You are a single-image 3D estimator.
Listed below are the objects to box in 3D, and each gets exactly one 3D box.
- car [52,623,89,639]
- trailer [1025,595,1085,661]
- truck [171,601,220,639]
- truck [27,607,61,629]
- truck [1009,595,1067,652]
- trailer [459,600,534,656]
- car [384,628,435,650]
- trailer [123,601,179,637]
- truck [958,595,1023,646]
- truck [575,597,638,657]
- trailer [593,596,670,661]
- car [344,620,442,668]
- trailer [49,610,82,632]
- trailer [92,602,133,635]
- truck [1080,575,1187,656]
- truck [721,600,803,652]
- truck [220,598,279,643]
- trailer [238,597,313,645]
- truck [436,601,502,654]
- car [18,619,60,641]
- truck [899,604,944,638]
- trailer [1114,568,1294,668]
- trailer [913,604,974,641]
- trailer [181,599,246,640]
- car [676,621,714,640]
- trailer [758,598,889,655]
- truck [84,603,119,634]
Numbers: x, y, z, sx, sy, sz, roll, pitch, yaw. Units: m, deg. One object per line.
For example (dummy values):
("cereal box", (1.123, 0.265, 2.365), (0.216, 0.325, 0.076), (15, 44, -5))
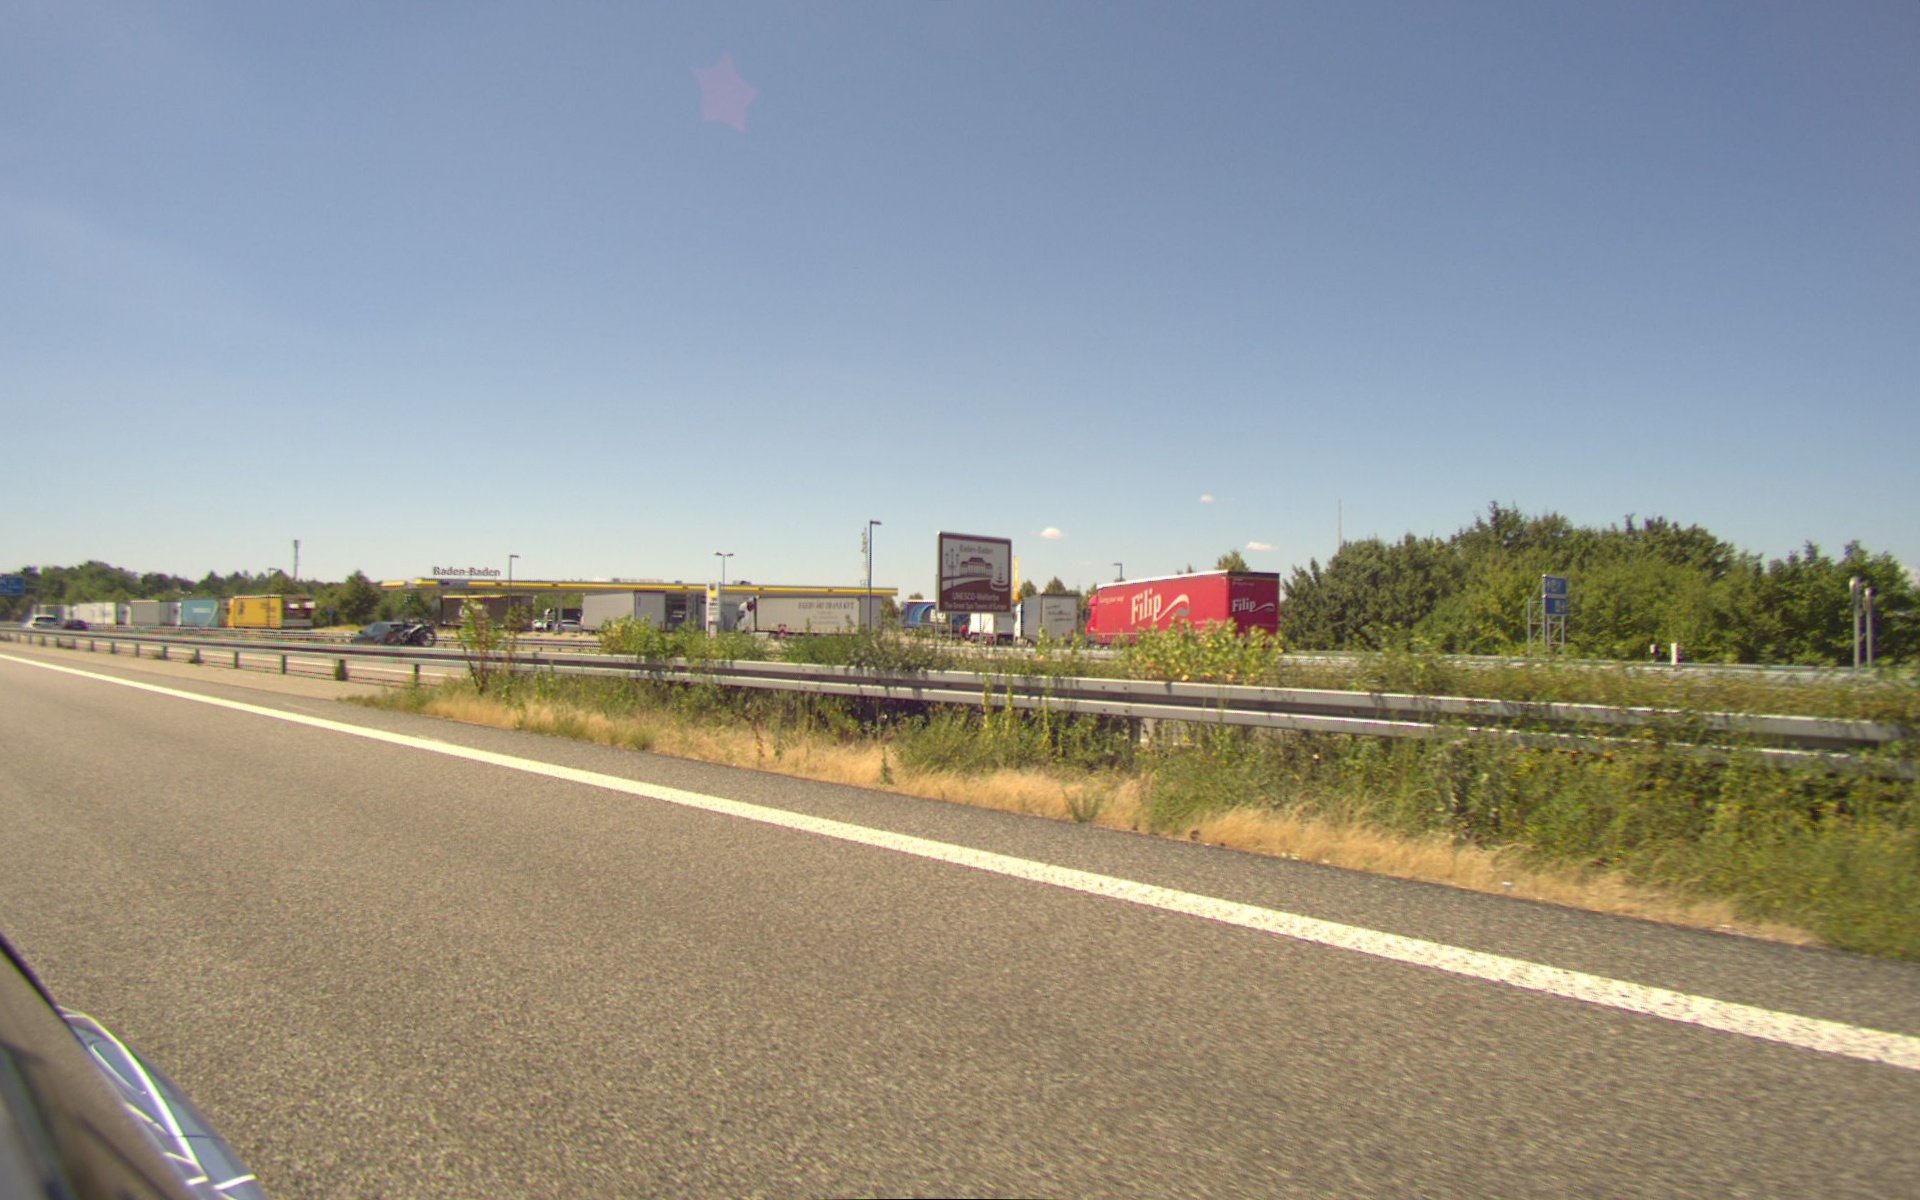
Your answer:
("car", (-79.726, 2.757, 90.728), (4.543, 1.409, 1.849), (-1, -4, 41))
("trailer", (6.644, 1.831, 72.418), (3.122, 4.298, 11.064), (-1, 0, 0))
("truck", (-85.341, 2.229, 112.960), (7.083, 4.104, 2.821), (-1, 0, 40))
("truck", (-166.588, 3.284, 183.953), (13.597, 3.670, 2.771), (-1, 0, 41))
("truck", (6.130, 1.821, 80.717), (3.124, 4.283, 6.658), (-1, 0, -9))
("trailer", (-43.080, 2.527, 93.931), (9.132, 4.886, 3.000), (-1, 0, 43))
("car", (-40.937, 2.888, 75.216), (4.505, 1.500, 1.794), (-1, 0, 40))
("trailer", (-99.540, 2.375, 124.440), (11.004, 4.189, 3.082), (-1, 0, 39))
("truck", (2.636, 1.797, 93.121), (3.008, 4.390, 10.746), (-1, 0, -15))
("truck", (-30.813, 2.290, 87.963), (3.257, 4.886, 7.645), (-1, 0, -34))
("trailer", (-26.703, 2.215, 81.936), (3.257, 4.911, 9.708), (-1, 0, -34))
("car", (-23.945, 1.805, 42.679), (5.043, 1.824, 1.934), (-1, 0, 40))
("trailer", (-171.883, 4.006, 194.471), (12.002, 4.187, 3.062), (-1, 0, 40))
("trailer", (-116.411, 2.516, 138.976), (10.507, 4.250, 2.572), (-1, 0, 40))
("truck", (9.196, 0.778, 54.610), (3.075, 4.080, 6.664), (-1, 0, -15))
("truck", (-17.668, 2.247, 89.977), (7.624, 4.390, 3.266), (-1, 0, 43))
("truck", (-70.186, 2.031, 99.861), (7.912, 4.232, 2.805), (-1, 0, 40))
("trailer", (-64.266, 1.912, 94.852), (11.073, 4.251, 2.805), (-1, 0, 40))
("truck", (-47.693, 2.608, 98.150), (7.877, 4.886, 2.993), (-1, 0, 42))
("car", (-68.389, 2.198, 75.130), (4.663, 1.541, 1.700), (-1, -4, 41))
("truck", (-4.381, 2.289, 113.014), (2.932, 3.516, 7.093), (-1, 0, -20))
("trailer", (11.060, 0.754, 47.818), (3.078, 4.086, 11.346), (-1, 0, -15))
("trailer", (-1.869, 2.258, 106.173), (2.951, 3.547, 11.099), (-1, 0, -20))
("trailer", (-80.361, 2.103, 108.785), (12.073, 4.180, 2.805), (-1, 0, 40))
("car", (-30.722, 3.521, 117.348), (4.780, 2.003, 1.794), (-1, 0, 40))
("trailer", (-11.566, 2.140, 84.339), (12.919, 4.390, 3.266), (-1, 0, 43))
("truck", (-121.586, 2.596, 143.339), (7.931, 4.220, 2.555), (-1, -1, 40))
